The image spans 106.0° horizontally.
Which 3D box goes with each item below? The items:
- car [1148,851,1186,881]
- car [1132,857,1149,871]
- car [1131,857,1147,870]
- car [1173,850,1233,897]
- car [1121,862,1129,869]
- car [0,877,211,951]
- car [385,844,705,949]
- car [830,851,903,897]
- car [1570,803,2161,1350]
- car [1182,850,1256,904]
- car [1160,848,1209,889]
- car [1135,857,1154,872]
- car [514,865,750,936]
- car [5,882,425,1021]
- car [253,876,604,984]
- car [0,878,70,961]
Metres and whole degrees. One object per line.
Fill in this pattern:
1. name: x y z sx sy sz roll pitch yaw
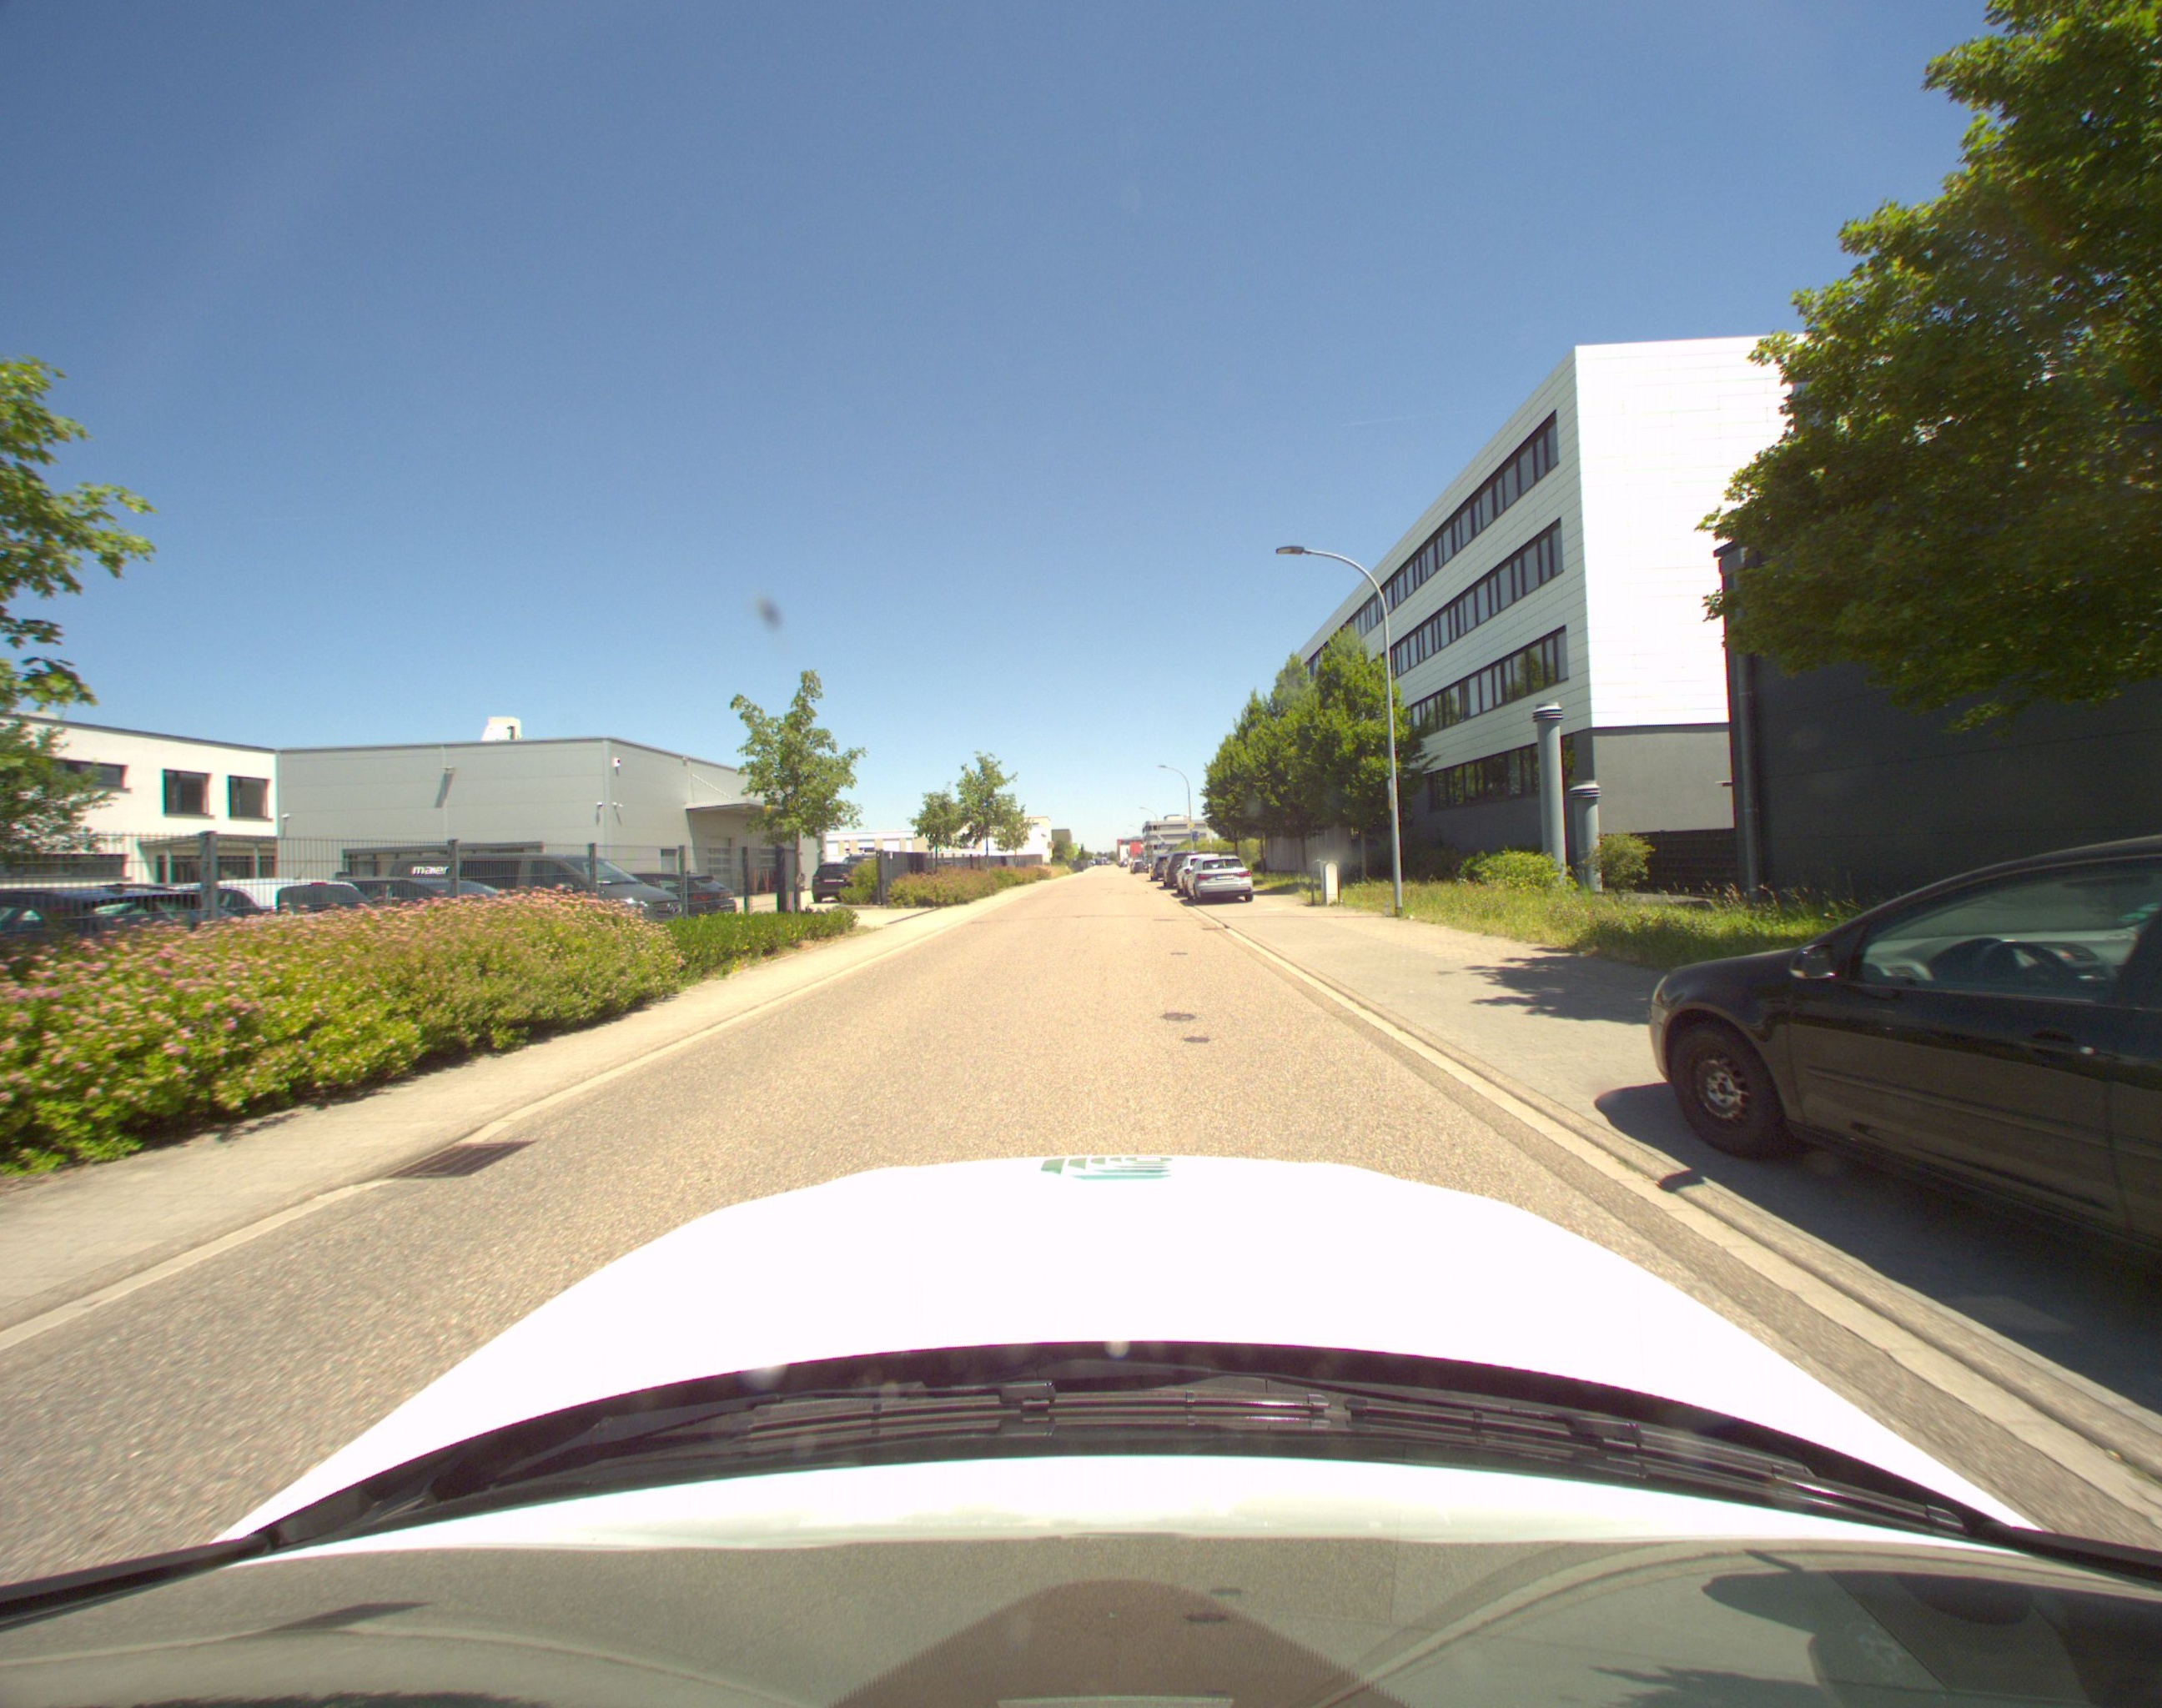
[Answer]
1. car: 5.241 0.704 50.172 1.797 1.662 4.609 -4 0 1
2. car: 7.238 1.211 98.673 1.899 1.546 4.005 -4 -1 5
3. car: 7.529 1.232 104.841 1.899 1.546 4.005 -4 -1 5
4. car: 4.433 0.686 30.112 1.709 1.481 4.033 -4 0 2
5. car: 10.786 2.818 200.618 1.769 1.728 4.002 0 -1 2
6. car: -21.039 1.217 16.837 4.092 1.350 1.881 -1 0 1
7. car: -10.509 0.799 16.241 5.041 1.851 1.965 -1 -1 1
8. car: -10.244 0.914 39.256 1.992 2.099 4.698 0 -1 4
9. car: 3.769 0.571 2.733 1.686 1.476 4.270 -4 0 1
10. car: 4.245 0.677 25.529 1.709 1.423 3.953 -4 0 2
11. car: 4.680 0.613 37.313 1.751 1.663 4.365 -4 0 2
12. car: 7.029 1.148 89.755 1.899 1.448 4.005 -4 -1 5
13. car: -10.174 1.030 18.715 4.289 1.446 1.965 -1 0 1
14. car: -10.926 1.180 10.499 3.358 1.498 1.905 -1 0 1
15. car: -10.483 1.183 13.323 4.178 1.498 1.905 -1 0 1
16. car: -20.673 1.192 14.065 4.092 1.414 1.881 -1 0 1
